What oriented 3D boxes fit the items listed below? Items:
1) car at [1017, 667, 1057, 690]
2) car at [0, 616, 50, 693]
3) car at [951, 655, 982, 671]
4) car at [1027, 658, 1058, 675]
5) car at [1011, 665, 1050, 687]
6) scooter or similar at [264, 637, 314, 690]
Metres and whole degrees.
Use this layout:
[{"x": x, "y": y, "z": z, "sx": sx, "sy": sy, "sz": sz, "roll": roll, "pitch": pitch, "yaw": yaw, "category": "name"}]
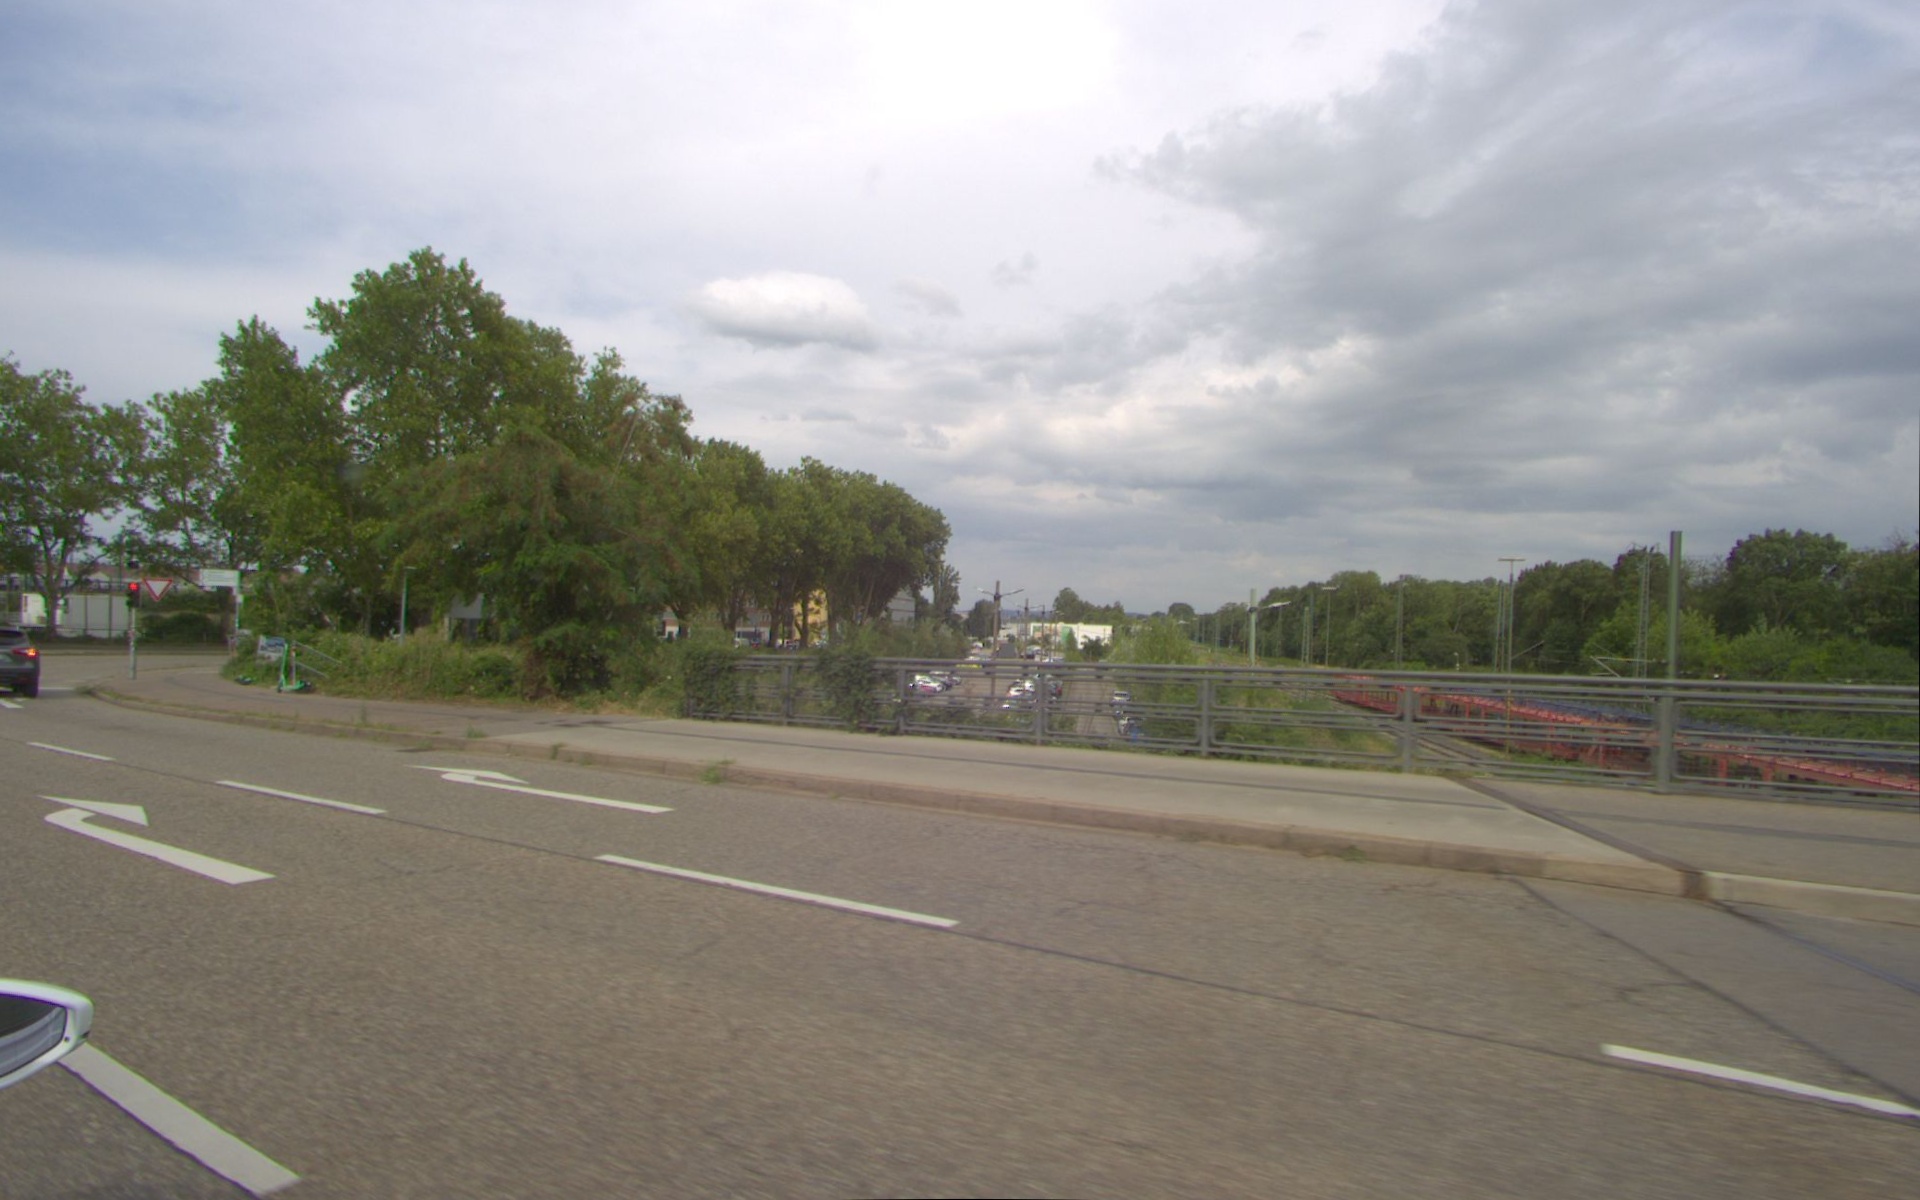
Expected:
[{"x": 7.689, "y": 7.851, "z": 100.474, "sx": 3.922, "sy": 2.040, "sz": 1.763, "roll": 2, "pitch": -1, "yaw": 3, "category": "car"}, {"x": -22.585, "y": 1.208, "z": 22.989, "sx": 4.085, "sy": 1.663, "sz": 1.745, "roll": -1, "pitch": -4, "yaw": 37, "category": "car"}, {"x": 0.908, "y": 8.419, "z": 134.200, "sx": 3.923, "sy": 2.040, "sz": 1.762, "roll": 1, "pitch": -1, "yaw": 10, "category": "car"}, {"x": 10.679, "y": 8.609, "z": 130.054, "sx": 3.922, "sy": 2.040, "sz": 1.763, "roll": 2, "pitch": -1, "yaw": 3, "category": "car"}, {"x": 7.382, "y": 7.940, "z": 104.787, "sx": 3.922, "sy": 2.040, "sz": 1.763, "roll": 2, "pitch": -1, "yaw": 3, "category": "car"}, {"x": -15.675, "y": 1.464, "z": 23.392, "sx": 1.260, "sy": 1.198, "sz": 0.396, "roll": 0, "pitch": -1, "yaw": 26, "category": "scooter or similar"}]
